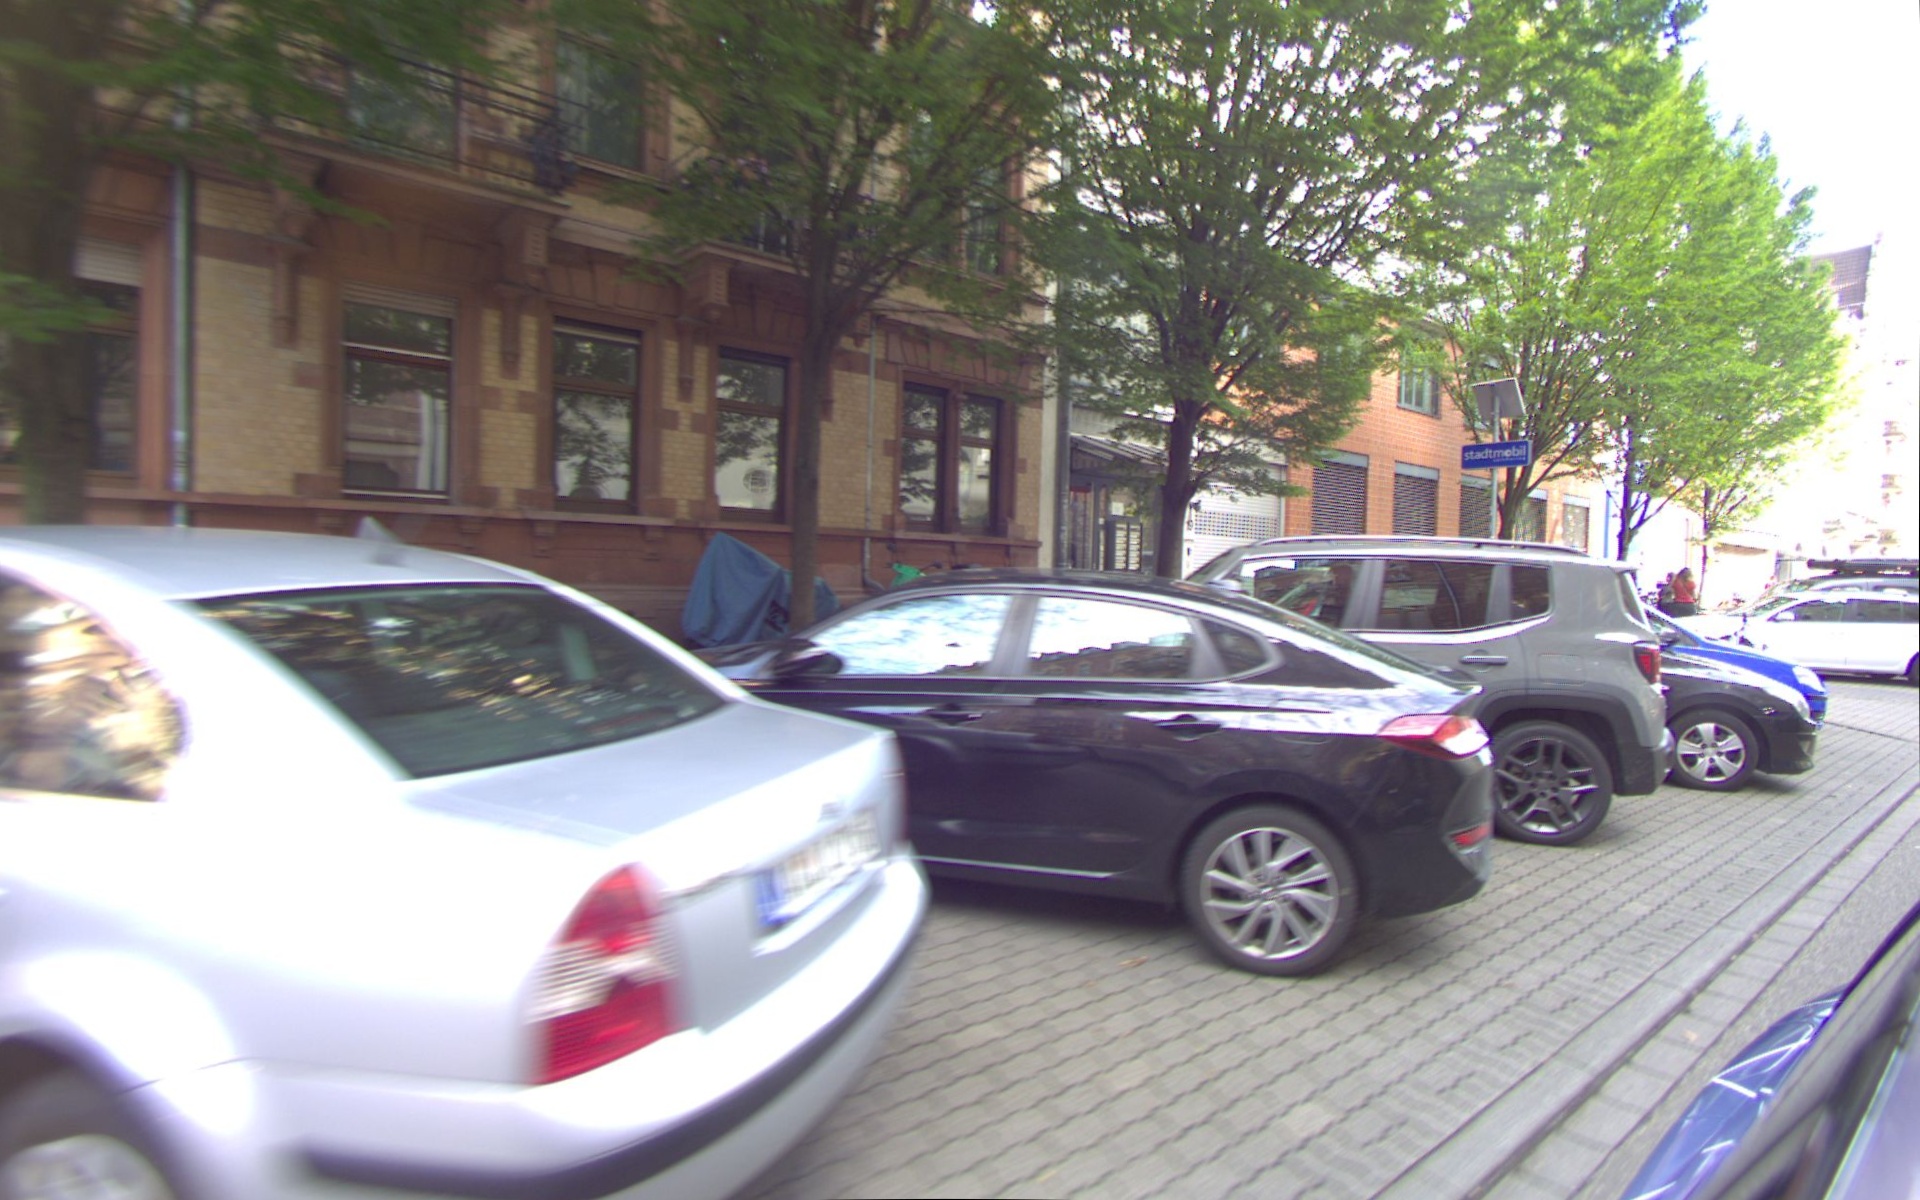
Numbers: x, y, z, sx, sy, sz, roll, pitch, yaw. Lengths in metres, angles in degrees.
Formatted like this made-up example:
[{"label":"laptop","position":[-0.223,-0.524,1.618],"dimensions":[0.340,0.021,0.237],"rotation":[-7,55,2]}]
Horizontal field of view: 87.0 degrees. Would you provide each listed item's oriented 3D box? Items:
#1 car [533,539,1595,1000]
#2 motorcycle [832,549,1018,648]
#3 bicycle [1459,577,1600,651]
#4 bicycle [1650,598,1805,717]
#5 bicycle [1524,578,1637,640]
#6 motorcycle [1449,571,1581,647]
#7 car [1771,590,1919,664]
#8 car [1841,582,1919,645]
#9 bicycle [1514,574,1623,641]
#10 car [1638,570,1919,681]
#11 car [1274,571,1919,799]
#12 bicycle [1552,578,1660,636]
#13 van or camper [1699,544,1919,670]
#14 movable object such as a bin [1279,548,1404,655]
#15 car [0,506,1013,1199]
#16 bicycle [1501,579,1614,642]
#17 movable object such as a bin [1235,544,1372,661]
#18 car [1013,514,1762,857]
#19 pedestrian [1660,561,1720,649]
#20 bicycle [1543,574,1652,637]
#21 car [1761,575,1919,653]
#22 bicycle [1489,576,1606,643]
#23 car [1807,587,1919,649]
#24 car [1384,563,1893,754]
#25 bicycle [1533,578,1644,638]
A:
[{"label":"car","position":[0.342,0.520,4.801],"dimensions":[4.079,1.435,1.860],"rotation":[2,1,15]},{"label":"motorcycle","position":[-0.418,-0.031,13.335],"dimensions":[2.447,1.202,0.895],"rotation":[0,1,-41]},{"label":"bicycle","position":[10.408,0.228,18.563],"dimensions":[0.806,1.108,2.026],"rotation":[0,6,-40]},{"label":"bicycle","position":[8.854,0.618,11.768],"dimensions":[0.691,1.227,1.744],"rotation":[0,1,10]},{"label":"bicycle","position":[13.324,0.173,21.786],"dimensions":[0.607,1.133,1.896],"rotation":[0,6,-42]},{"label":"motorcycle","position":[10.663,0.147,19.508],"dimensions":[0.813,1.241,1.984],"rotation":[0,5,-41]},{"label":"car","position":[19.210,0.534,20.528],"dimensions":[3.948,1.417,1.651],"rotation":[1,1,19]},{"label":"car","position":[26.881,0.362,27.505],"dimensions":[3.948,1.694,1.916],"rotation":[1,1,19]},{"label":"bicycle","position":[12.837,0.129,21.397],"dimensions":[0.607,1.219,1.781],"rotation":[0,5,-42]},{"label":"car","position":[14.620,0.411,17.154],"dimensions":[4.746,1.562,1.860],"rotation":[4,3,18]},{"label":"car","position":[4.779,0.540,8.309],"dimensions":[4.064,1.539,1.838],"rotation":[1,2,14]},{"label":"bicycle","position":[14.693,0.133,23.069],"dimensions":[0.607,1.125,1.896],"rotation":[0,6,-42]},{"label":"van or camper","position":[16.477,0.099,18.832],"dimensions":[3.950,2.206,1.987],"rotation":[1,1,20]},{"label":"movable object such as a bin","position":[5.927,0.000,15.754],"dimensions":[1.020,1.462,1.375],"rotation":[0,7,-42]},{"label":"car","position":[-2.304,0.495,2.779],"dimensions":[4.552,1.469,1.783],"rotation":[4,3,19]},{"label":"bicycle","position":[12.384,0.194,21.021],"dimensions":[0.528,1.132,1.886],"rotation":[0,5,-42]},{"label":"movable object such as a bin","position":[5.091,0.010,15.033],"dimensions":[1.144,1.476,1.376],"rotation":[0,9,-42]},{"label":"car","position":[2.490,0.392,6.719],"dimensions":[3.944,1.720,1.844],"rotation":[2,1,16]},{"label":"pedestrian","position":[15.467,0.091,21.454],"dimensions":[0.937,1.759,0.753],"rotation":[0,5,-44]},{"label":"bicycle","position":[14.240,0.101,22.644],"dimensions":[0.607,1.219,1.896],"rotation":[0,5,-42]},{"label":"car","position":[21.945,0.316,24.181],"dimensions":[3.948,1.783,1.901],"rotation":[1,1,19]},{"label":"bicycle","position":[11.947,0.174,20.623],"dimensions":[0.607,1.145,1.896],"rotation":[0,6,-42]},{"label":"car","position":[24.674,0.450,26.005],"dimensions":[3.948,1.527,1.988],"rotation":[1,1,19]},{"label":"car","position":[6.503,0.453,10.307],"dimensions":[3.957,1.455,1.712],"rotation":[4,3,23]},{"label":"bicycle","position":[13.769,0.149,22.223],"dimensions":[0.607,1.115,1.896],"rotation":[0,6,-42]}]
